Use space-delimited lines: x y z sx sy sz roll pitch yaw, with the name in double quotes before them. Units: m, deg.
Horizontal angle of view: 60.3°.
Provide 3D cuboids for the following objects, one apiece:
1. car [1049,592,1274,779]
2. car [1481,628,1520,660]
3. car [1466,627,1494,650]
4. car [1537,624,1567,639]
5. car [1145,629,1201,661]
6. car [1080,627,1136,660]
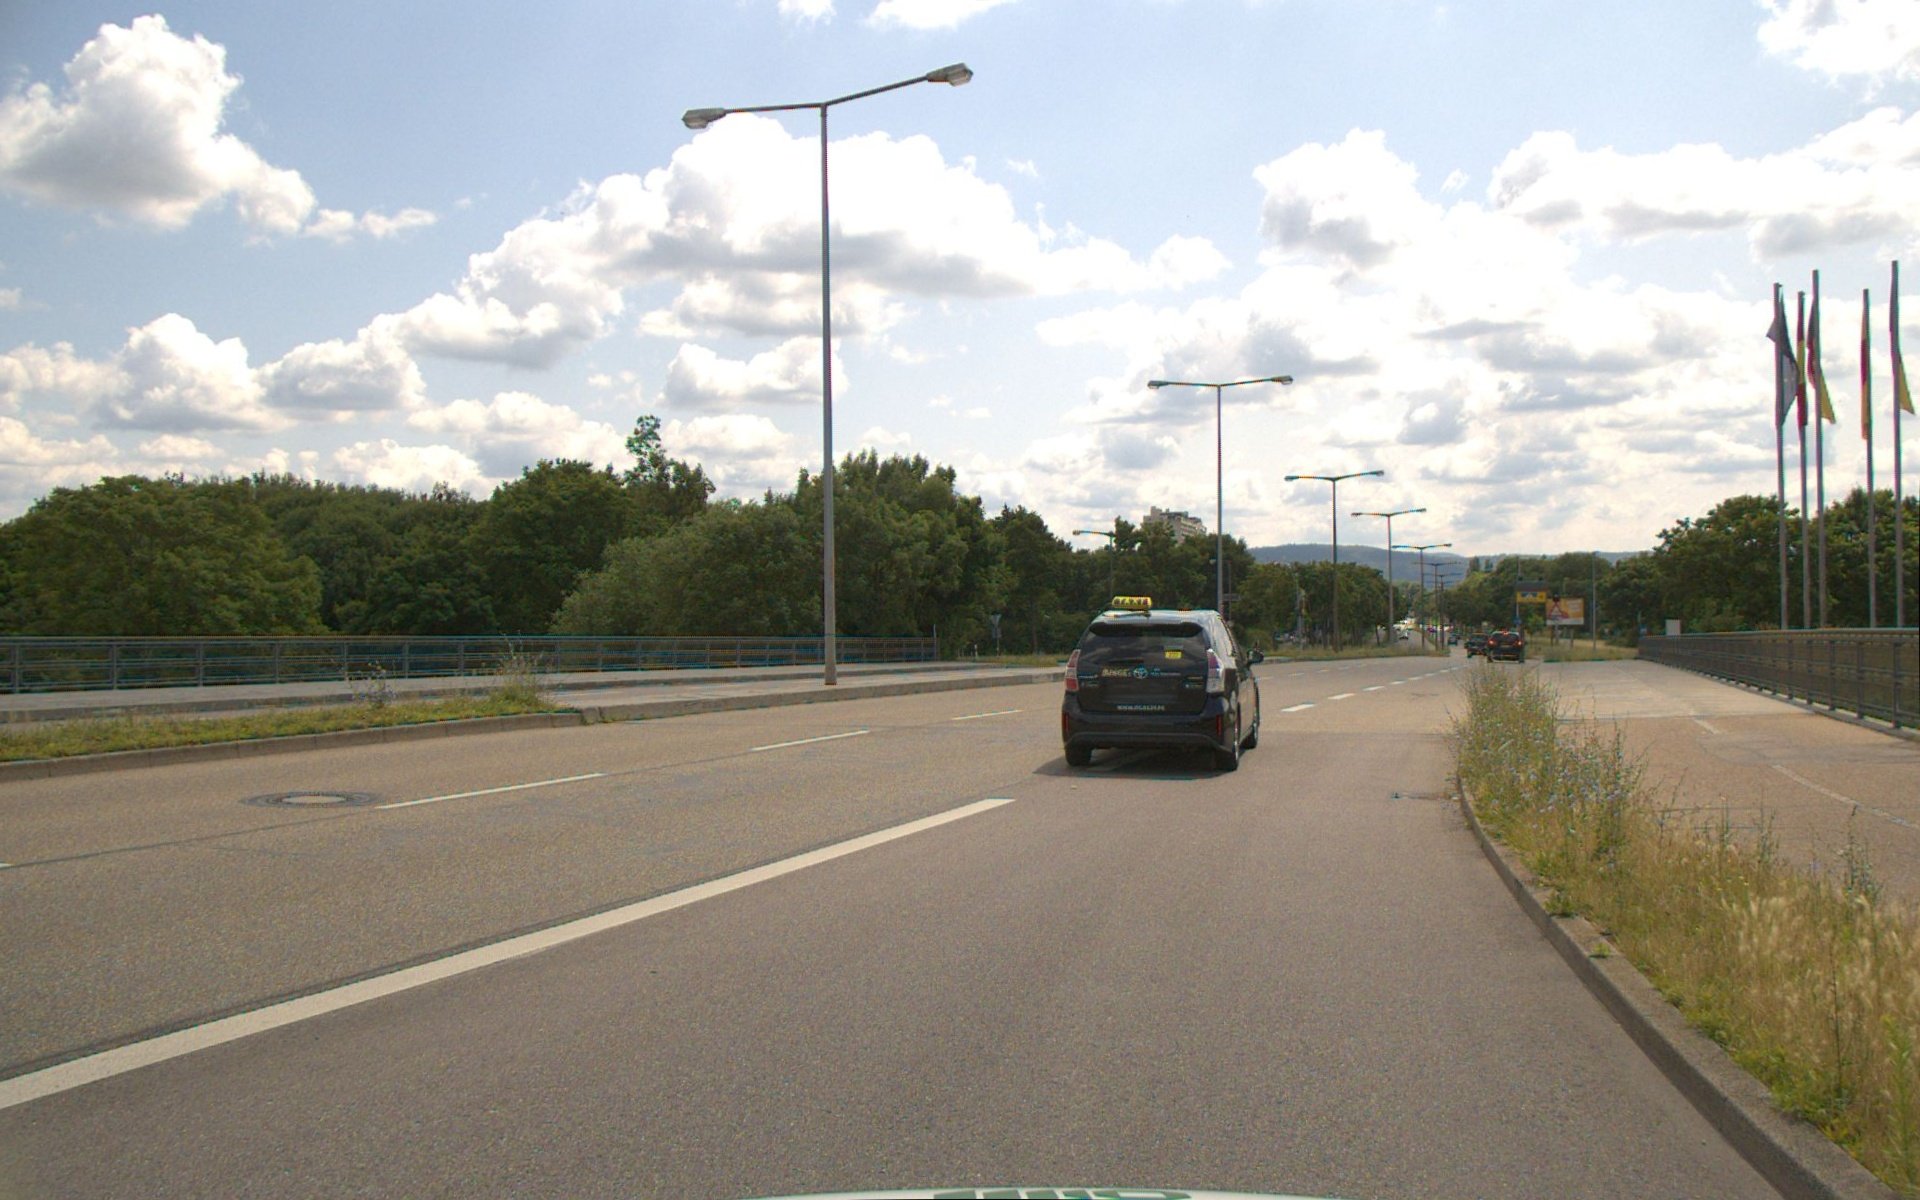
"car" 2.255 0.800 17.566 1.742 1.713 4.003 1 0 16
"car" 30.662 2.455 93.960 1.951 1.691 4.002 1 0 16
"car" 40.613 2.976 129.275 1.951 1.691 4.002 1 0 16
"car" 69.142 3.646 193.160 1.953 1.691 3.998 1 0 -2
"car" 10.578 2.218 81.963 1.629 1.438 4.550 -3 -1 21
"car" 8.106 2.343 90.200 2.044 1.655 4.552 1 0 18
